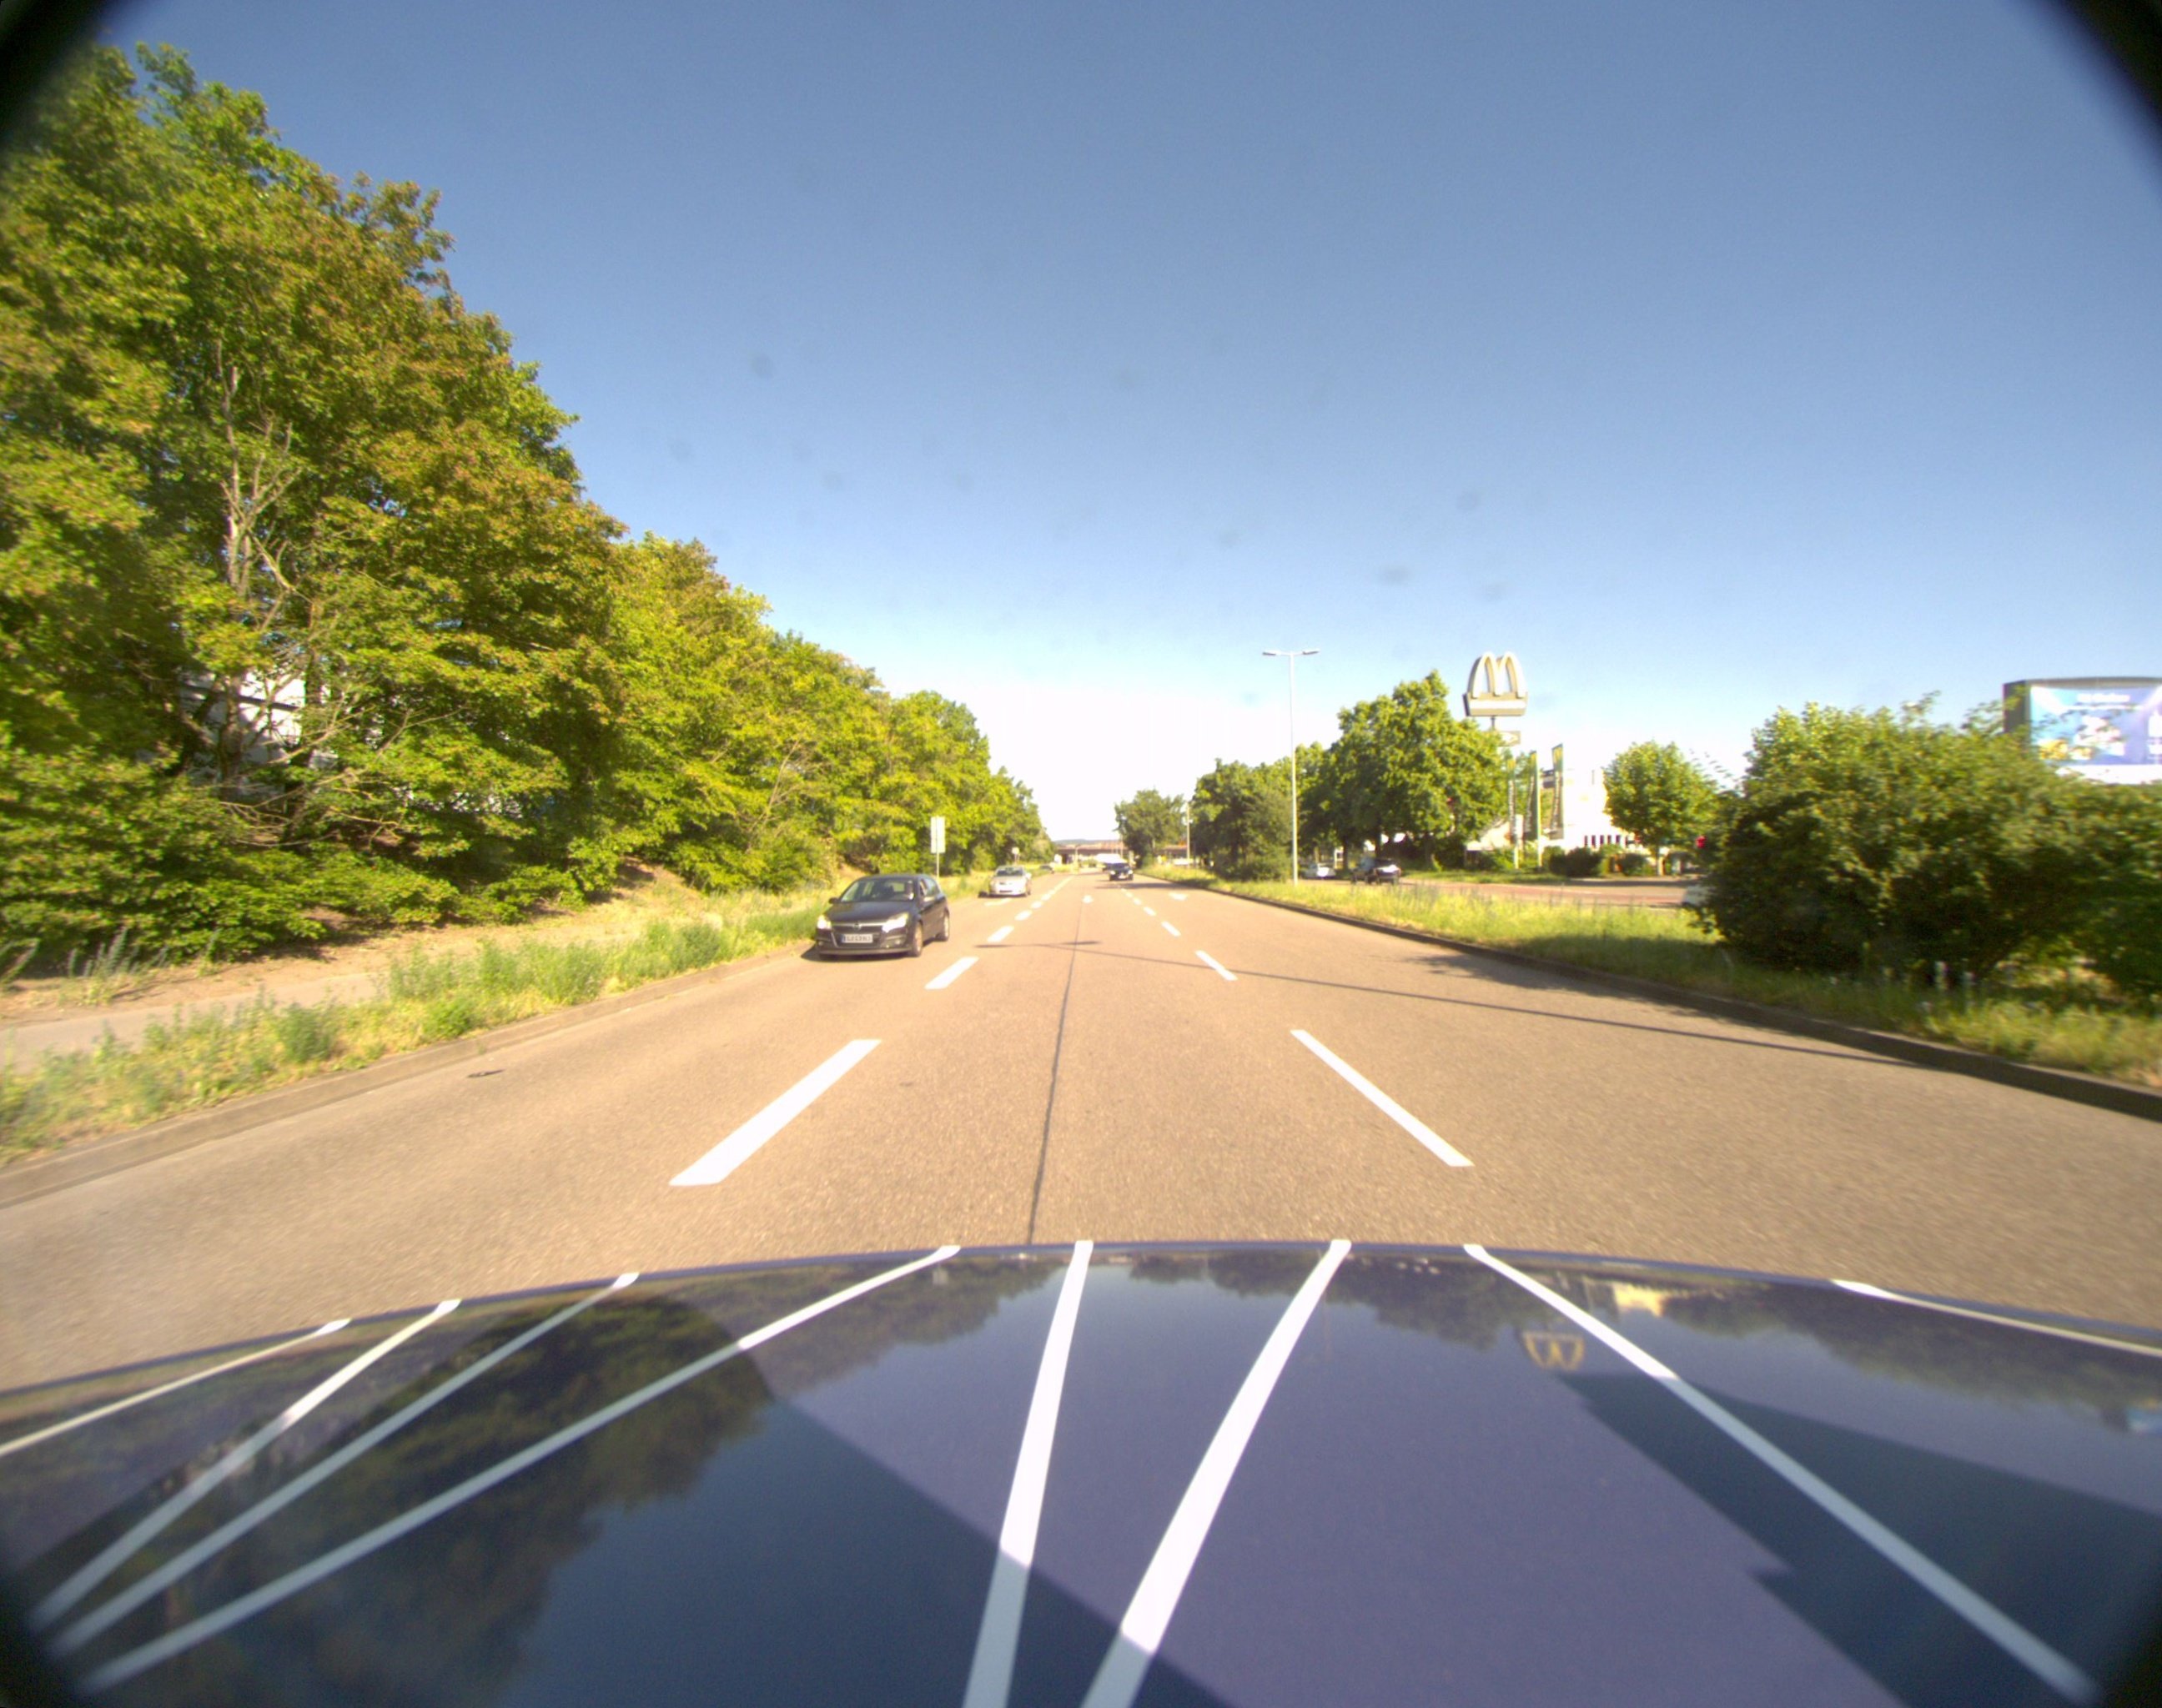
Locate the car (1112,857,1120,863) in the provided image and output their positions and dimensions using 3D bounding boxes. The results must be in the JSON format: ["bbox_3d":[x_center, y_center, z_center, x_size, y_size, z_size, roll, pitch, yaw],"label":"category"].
[{"bbox_3d":[8.334,1.466,181.638,1.998,1.433,4.000,-1,0,1],"label":"car"}]

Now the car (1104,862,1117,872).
[{"bbox_3d":[5.045,2.165,129.487,2.025,1.601,4.098,-2,0,1],"label":"car"}]

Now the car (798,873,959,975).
[{"bbox_3d":[-3.548,1.160,14.199,1.738,1.433,4.371,-2,0,1],"label":"car"}]

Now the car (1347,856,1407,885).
[{"bbox_3d":[19.023,1.025,49.018,1.998,1.619,4.771,-2,1,1],"label":"car"}]

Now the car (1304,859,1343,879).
[{"bbox_3d":[20.831,1.300,65.376,1.998,1.542,4.142,-2,1,1],"label":"car"}]

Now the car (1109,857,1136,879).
[{"bbox_3d":[3.267,1.076,60.539,1.788,1.592,4.583,-1,0,0],"label":"car"}]

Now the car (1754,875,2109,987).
[{"bbox_3d":[13.261,1.105,12.233,1.572,1.346,3.706,-2,1,1],"label":"car"}]

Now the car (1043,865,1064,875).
[{"bbox_3d":[-4.724,2.640,128.659,2.040,1.601,4.090,-2,0,-25],"label":"car"}]

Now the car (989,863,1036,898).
[{"bbox_3d":[-3.259,1.219,36.629,1.788,1.528,4.108,-2,0,1],"label":"car"}]
